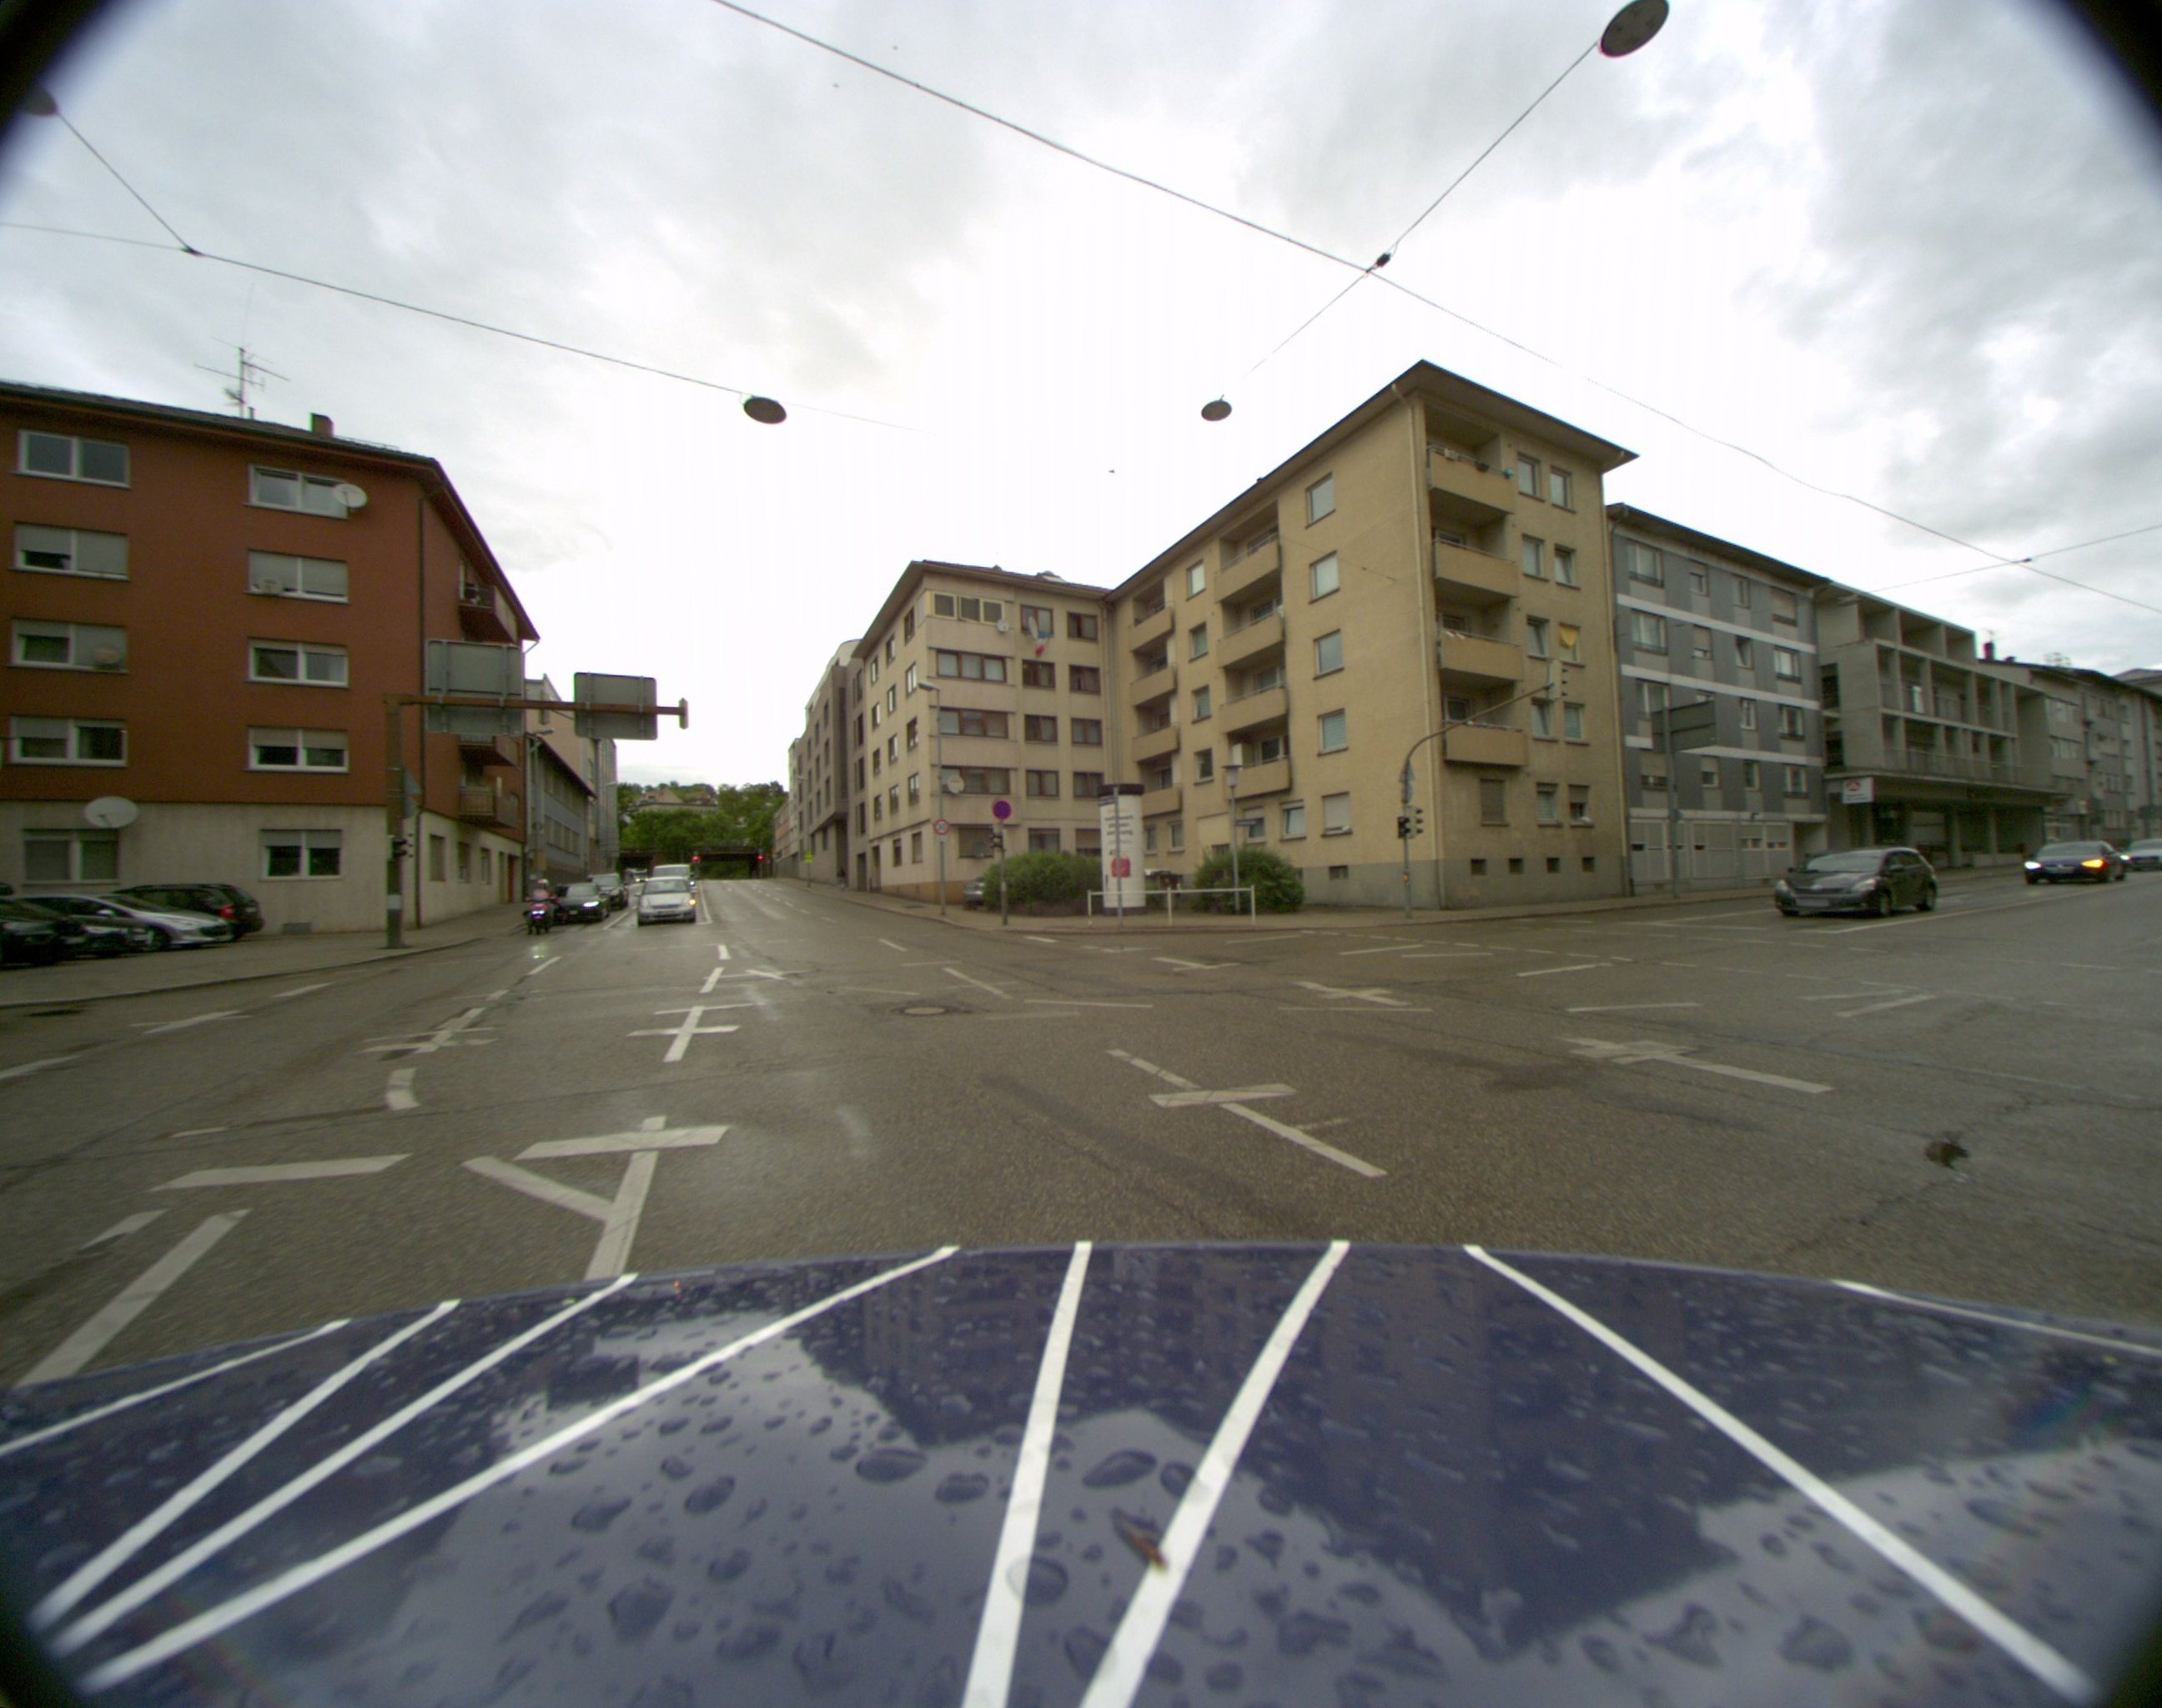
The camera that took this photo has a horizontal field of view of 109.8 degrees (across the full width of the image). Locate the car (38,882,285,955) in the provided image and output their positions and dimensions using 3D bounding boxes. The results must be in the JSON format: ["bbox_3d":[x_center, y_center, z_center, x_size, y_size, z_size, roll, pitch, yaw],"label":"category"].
[{"bbox_3d":[-25.689,1.760,21.419,4.002,1.695,1.999,-3,-2,-15],"label":"car"}]

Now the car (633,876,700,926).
[{"bbox_3d":[-14.500,1.583,26.769,1.843,1.545,3.992,-1,-1,-26],"label":"car"}]

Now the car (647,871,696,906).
[{"bbox_3d":[-19.738,1.621,36.795,1.852,1.545,3.992,-1,-1,-25],"label":"car"}]

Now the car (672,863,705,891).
[{"bbox_3d":[-28.833,1.729,55.918,1.918,1.847,4.847,-2,-2,-25],"label":"car"}]

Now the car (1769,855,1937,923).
[{"bbox_3d":[18.704,0.806,18.387,4.078,1.471,1.730,-1,-2,-29],"label":"car"}]

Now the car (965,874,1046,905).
[{"bbox_3d":[-3.386,1.588,33.992,3.267,1.185,1.380,-2,-2,-27],"label":"car"}]

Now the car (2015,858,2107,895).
[{"bbox_3d":[34.920,0.767,27.053,4.006,1.142,1.690,-2,0,-33],"label":"car"}]

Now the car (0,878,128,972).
[{"bbox_3d":[-21.997,1.393,14.705,4.002,1.709,1.991,-1,0,-15],"label":"car"}]

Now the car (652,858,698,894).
[{"bbox_3d":[-23.314,1.306,43.777,1.946,1.904,4.847,-2,-2,-25],"label":"car"}]

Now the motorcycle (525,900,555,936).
[{"bbox_3d":[-16.770,1.957,23.592,0.638,0.921,2.359,-3,1,-33],"label":"motorcycle"}]

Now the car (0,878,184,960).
[{"bbox_3d":[-23.298,1.458,16.858,4.004,1.687,1.798,-1,-3,-23],"label":"car"}]

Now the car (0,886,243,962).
[{"bbox_3d":[-24.114,1.720,19.038,4.000,1.572,1.674,-3,-2,-9],"label":"car"}]

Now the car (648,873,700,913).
[{"bbox_3d":[-17.424,1.612,32.671,1.852,1.545,3.992,-1,-1,-27],"label":"car"}]

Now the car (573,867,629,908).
[{"bbox_3d":[-22.197,1.588,35.268,1.797,1.717,3.993,-2,-3,-28],"label":"car"}]

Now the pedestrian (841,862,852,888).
[{"bbox_3d":[-16.089,1.440,52.029,0.537,1.690,0.503,-2,-2,-31],"label":"pedestrian"}]

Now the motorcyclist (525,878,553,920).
[{"bbox_3d":[-16.759,1.379,23.498,0.655,1.217,0.656,-1,1,-33],"label":"motorcyclist"}]

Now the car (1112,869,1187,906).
[{"bbox_3d":[3.054,1.477,34.480,1.769,1.466,3.318,-2,1,-29],"label":"car"}]

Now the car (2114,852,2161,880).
[{"bbox_3d":[47.284,0.503,33.454,3.099,1.061,1.545,-2,-3,-26],"label":"car"}]

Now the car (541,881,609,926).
[{"bbox_3d":[-18.962,1.801,28.631,1.879,1.433,3.991,-2,0,-31],"label":"car"}]
